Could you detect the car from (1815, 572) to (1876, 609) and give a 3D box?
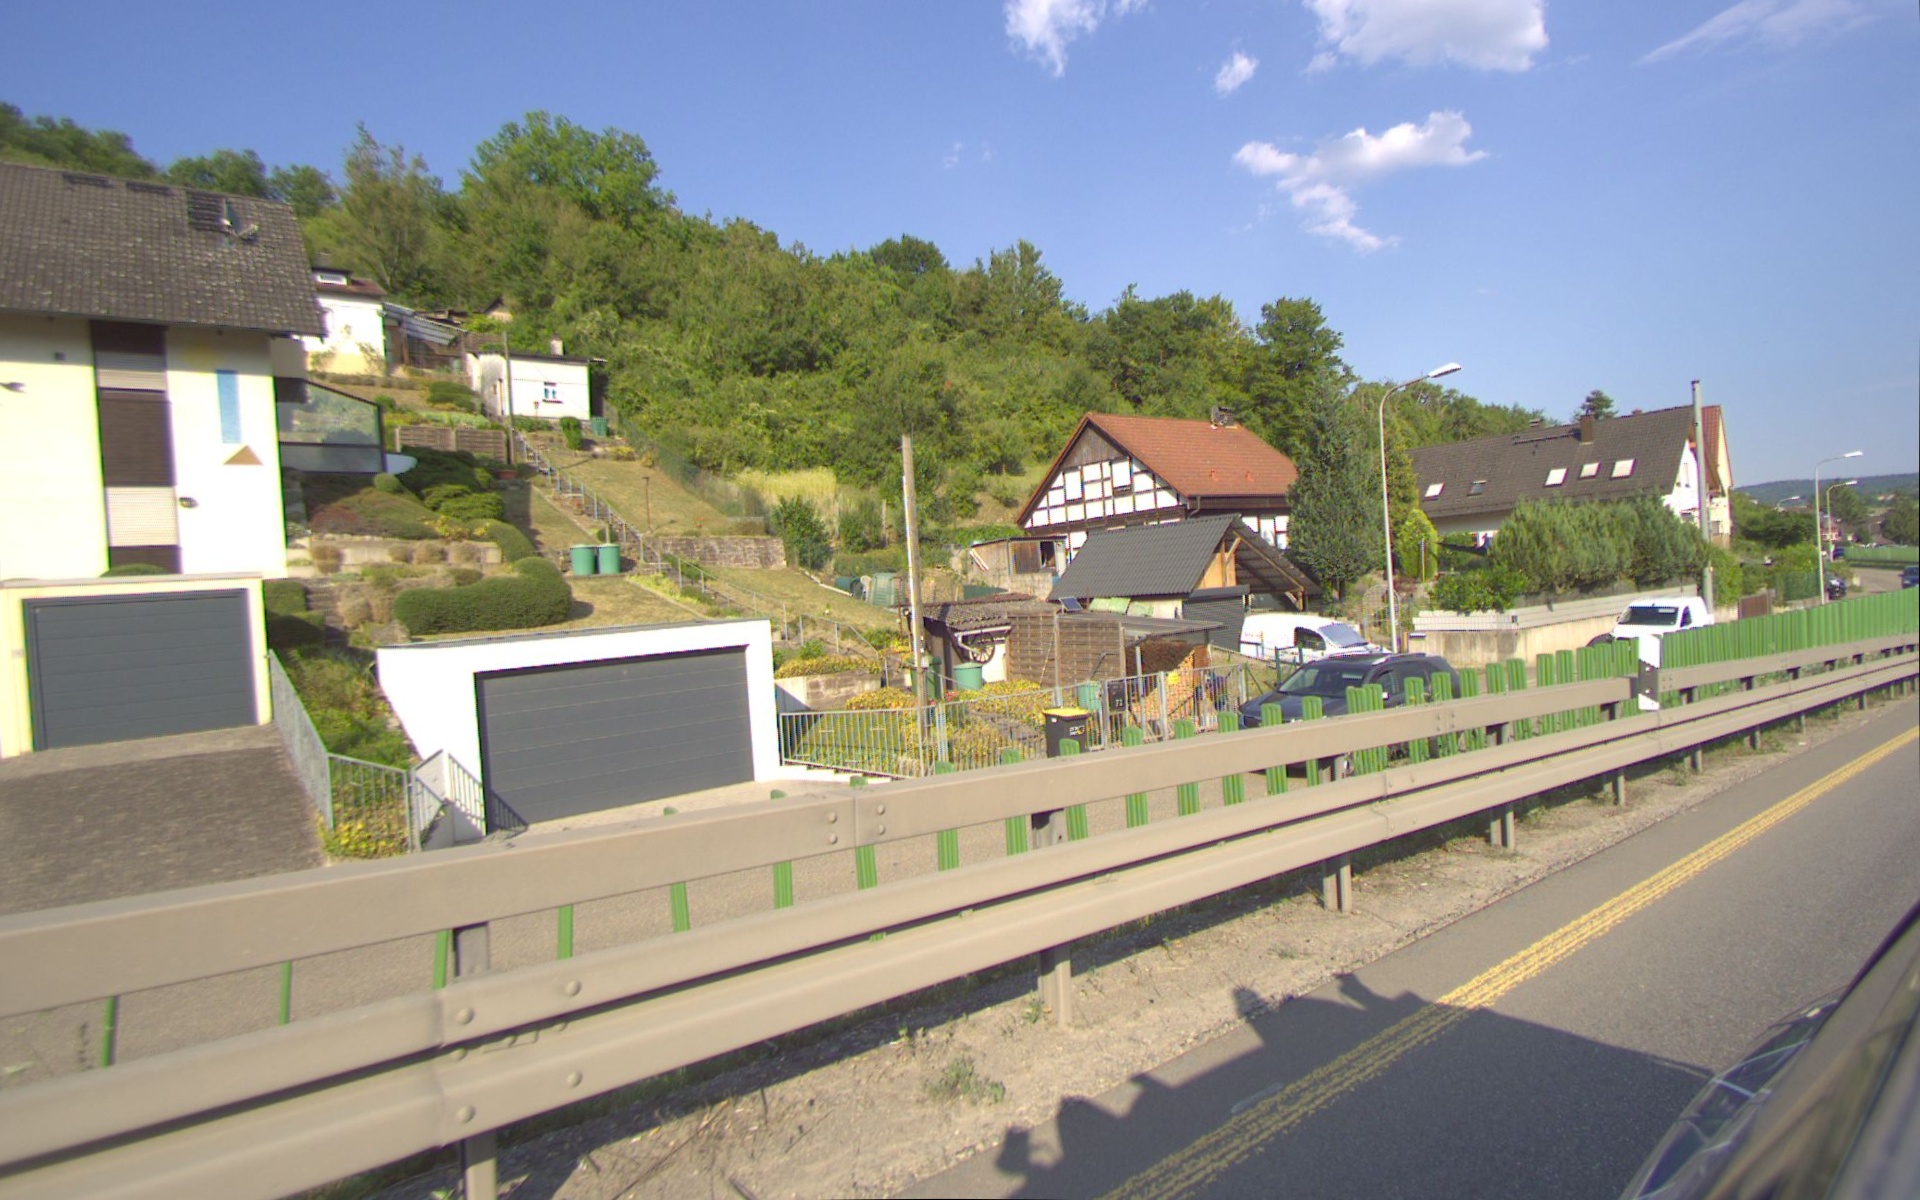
[{"bbox_3d":[49.672,-0.542,56.742,3.929,2.039,1.997,-1,0,-40],"label":"car"}]

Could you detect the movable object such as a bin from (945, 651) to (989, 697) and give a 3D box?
[{"bbox_3d":[0.146,1.592,21.871,0.668,0.912,0.687,-1,0,-41],"label":"movable object such as a bin"}]

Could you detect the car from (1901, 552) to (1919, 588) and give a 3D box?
[{"bbox_3d":[56.048,-1.753,58.598,3.933,2.039,1.995,-1,0,-43],"label":"car"}]

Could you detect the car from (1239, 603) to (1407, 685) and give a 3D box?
[{"bbox_3d":[9.737,1.103,27.366,1.719,1.861,3.997,-3,3,-38],"label":"car"}]

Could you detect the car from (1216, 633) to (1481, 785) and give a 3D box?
[{"bbox_3d":[6.349,1.605,16.340,4.416,1.807,1.868,-3,1,-36],"label":"car"}]

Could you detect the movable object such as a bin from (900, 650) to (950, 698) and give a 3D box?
[{"bbox_3d":[-0.727,1.522,20.962,0.668,0.912,0.791,-1,0,-41],"label":"movable object such as a bin"}]

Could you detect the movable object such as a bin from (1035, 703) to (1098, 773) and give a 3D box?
[{"bbox_3d":[1.729,2.227,16.470,0.665,1.014,0.723,-1,-2,-39],"label":"movable object such as a bin"}]

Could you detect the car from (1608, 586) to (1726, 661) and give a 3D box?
[{"bbox_3d":[21.159,0.666,30.234,4.211,1.966,1.822,-3,0,-41],"label":"car"}]
